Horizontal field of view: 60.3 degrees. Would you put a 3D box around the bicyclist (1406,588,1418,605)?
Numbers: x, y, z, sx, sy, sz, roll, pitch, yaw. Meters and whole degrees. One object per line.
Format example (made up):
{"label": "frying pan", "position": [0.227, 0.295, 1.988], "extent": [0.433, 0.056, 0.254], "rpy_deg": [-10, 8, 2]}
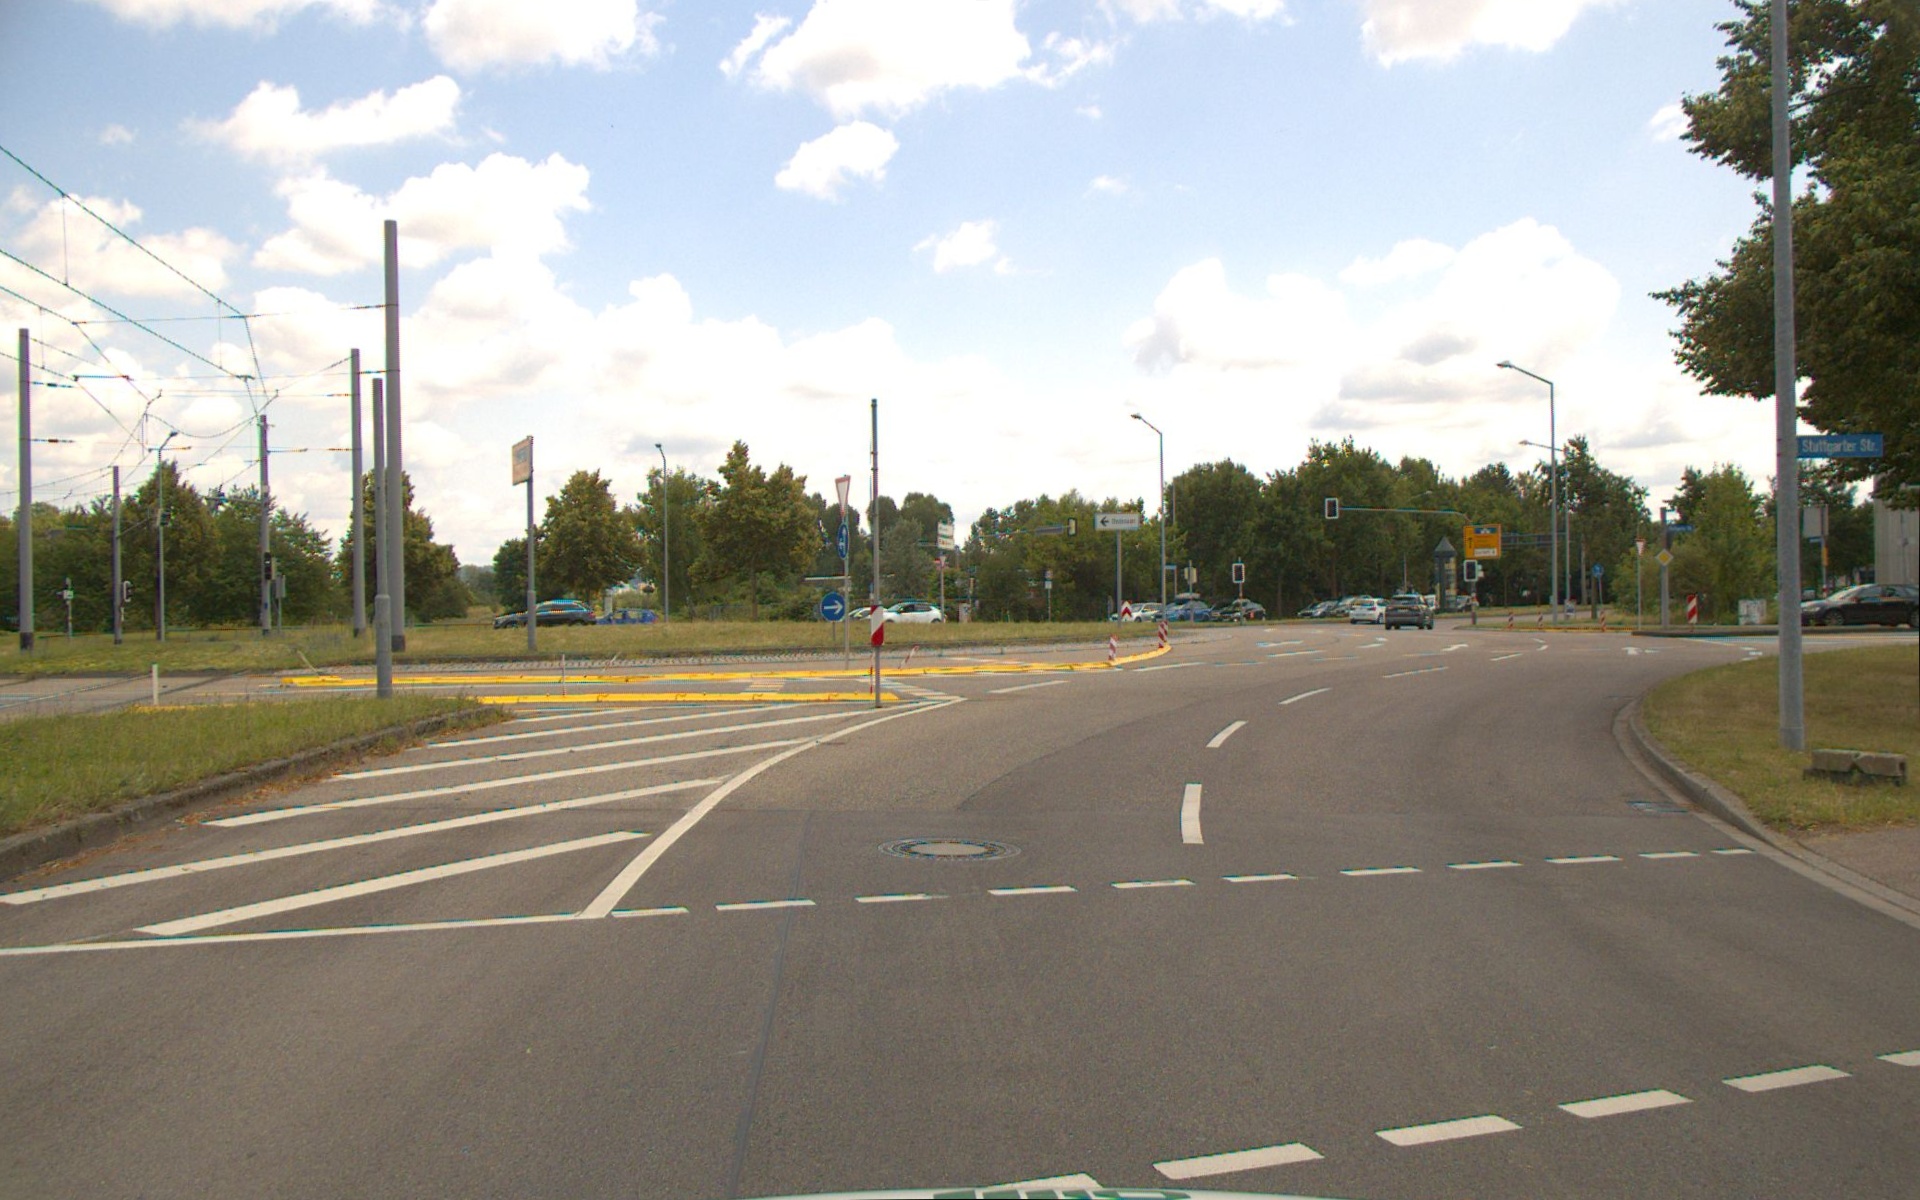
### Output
{"label": "bicyclist", "position": [41.828, -0.354, 153.152], "extent": [0.816, 1.592, 0.880], "rpy_deg": [1, 1, 37]}

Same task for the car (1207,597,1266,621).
{"label": "car", "position": [17.487, 0.565, 104.595], "extent": [1.771, 1.364, 3.955], "rpy_deg": [-3, -1, 43]}

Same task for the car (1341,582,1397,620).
{"label": "car", "position": [23.175, 0.049, 93.678], "extent": [1.957, 2.049, 3.991], "rpy_deg": [-1, 0, 31]}

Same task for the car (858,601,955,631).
{"label": "car", "position": [-2.584, 0.767, 79.965], "extent": [4.251, 1.353, 1.980], "rpy_deg": [-1, 0, -30]}

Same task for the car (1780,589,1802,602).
{"label": "car", "position": [104.927, -0.583, 208.830], "extent": [1.809, 1.512, 3.851], "rpy_deg": [-1, 0, 37]}

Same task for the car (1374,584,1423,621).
{"label": "car", "position": [21.004, 0.102, 79.148], "extent": [1.952, 1.654, 4.311], "rpy_deg": [-2, 0, 19]}

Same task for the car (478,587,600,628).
{"label": "car", "position": [-18.868, 0.315, 74.097], "extent": [4.993, 1.704, 1.983], "rpy_deg": [-1, 0, -27]}

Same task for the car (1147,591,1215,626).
{"label": "car", "position": [12.330, 0.464, 92.093], "extent": [1.724, 1.830, 4.385], "rpy_deg": [-1, 0, 40]}

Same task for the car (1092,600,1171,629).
{"label": "car", "position": [9.868, 0.814, 94.968], "extent": [4.472, 1.548, 2.090], "rpy_deg": [-1, 0, -44]}

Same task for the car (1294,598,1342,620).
{"label": "car", "position": [24.622, 0.585, 113.715], "extent": [1.872, 1.448, 4.178], "rpy_deg": [-1, 0, 34]}

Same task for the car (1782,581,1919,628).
{"label": "car", "position": [28.817, 0.143, 53.227], "extent": [3.905, 1.489, 1.689], "rpy_deg": [0, 0, 0]}

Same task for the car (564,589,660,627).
{"label": "car", "position": [-17.746, 0.381, 84.401], "extent": [4.637, 1.822, 1.840], "rpy_deg": [-1, 0, -18]}

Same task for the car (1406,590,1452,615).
{"label": "car", "position": [36.935, 0.159, 130.149], "extent": [1.808, 1.831, 4.767], "rpy_deg": [-4, -2, 38]}
